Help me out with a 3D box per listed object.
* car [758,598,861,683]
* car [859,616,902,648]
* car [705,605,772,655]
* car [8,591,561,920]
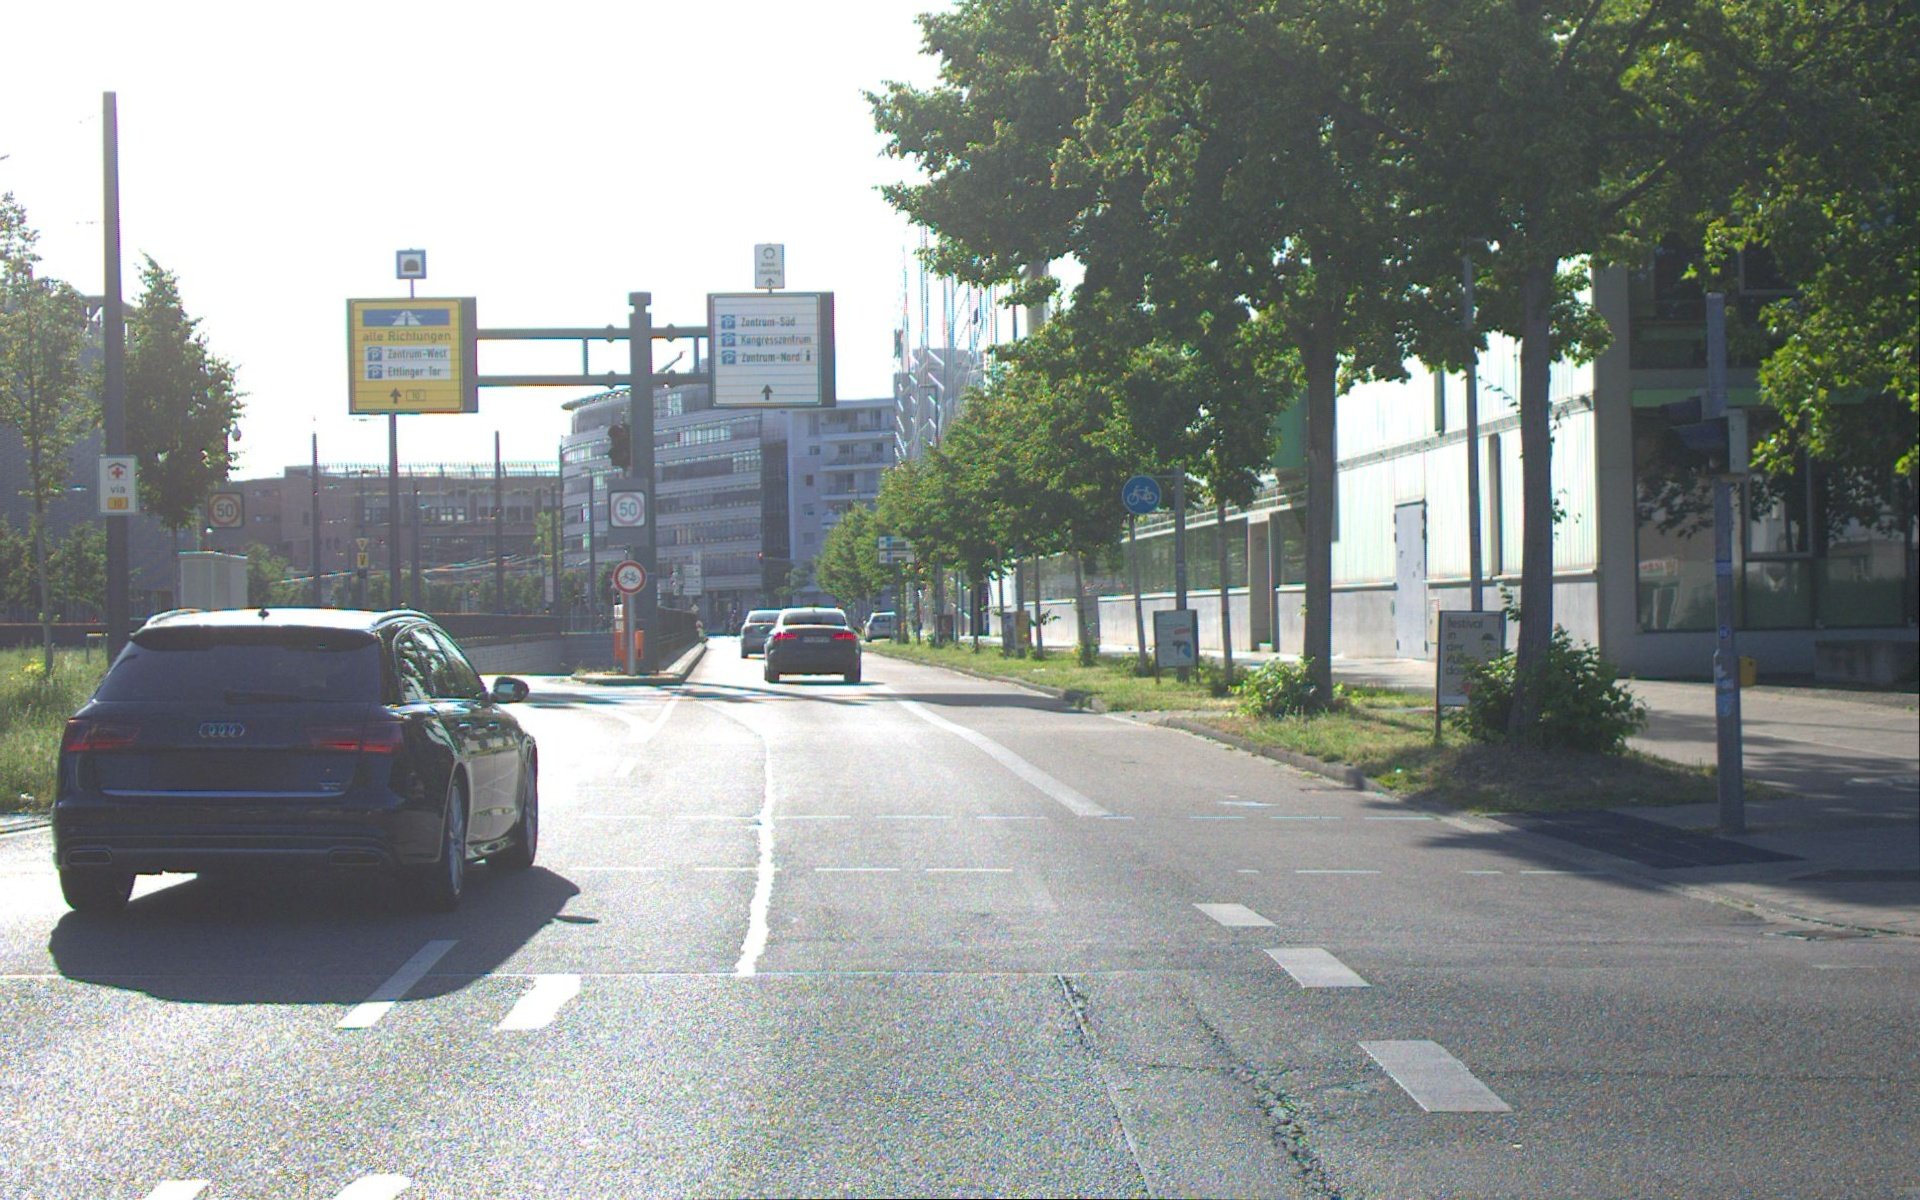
[{"bbox_3d":[-2.875,0.744,65.046,1.852,1.541,4.000,1,0,-4],"label":"car"},{"bbox_3d":[-4.062,1.613,175.244,1.852,1.476,4.854,-3,0,-4],"label":"car"},{"bbox_3d":[-6.795,0.899,105.598,1.993,1.460,4.000,0,0,-3],"label":"car"},{"bbox_3d":[-3.266,0.713,17.563,1.812,1.423,4.689,-1,-1,1],"label":"car"}]
